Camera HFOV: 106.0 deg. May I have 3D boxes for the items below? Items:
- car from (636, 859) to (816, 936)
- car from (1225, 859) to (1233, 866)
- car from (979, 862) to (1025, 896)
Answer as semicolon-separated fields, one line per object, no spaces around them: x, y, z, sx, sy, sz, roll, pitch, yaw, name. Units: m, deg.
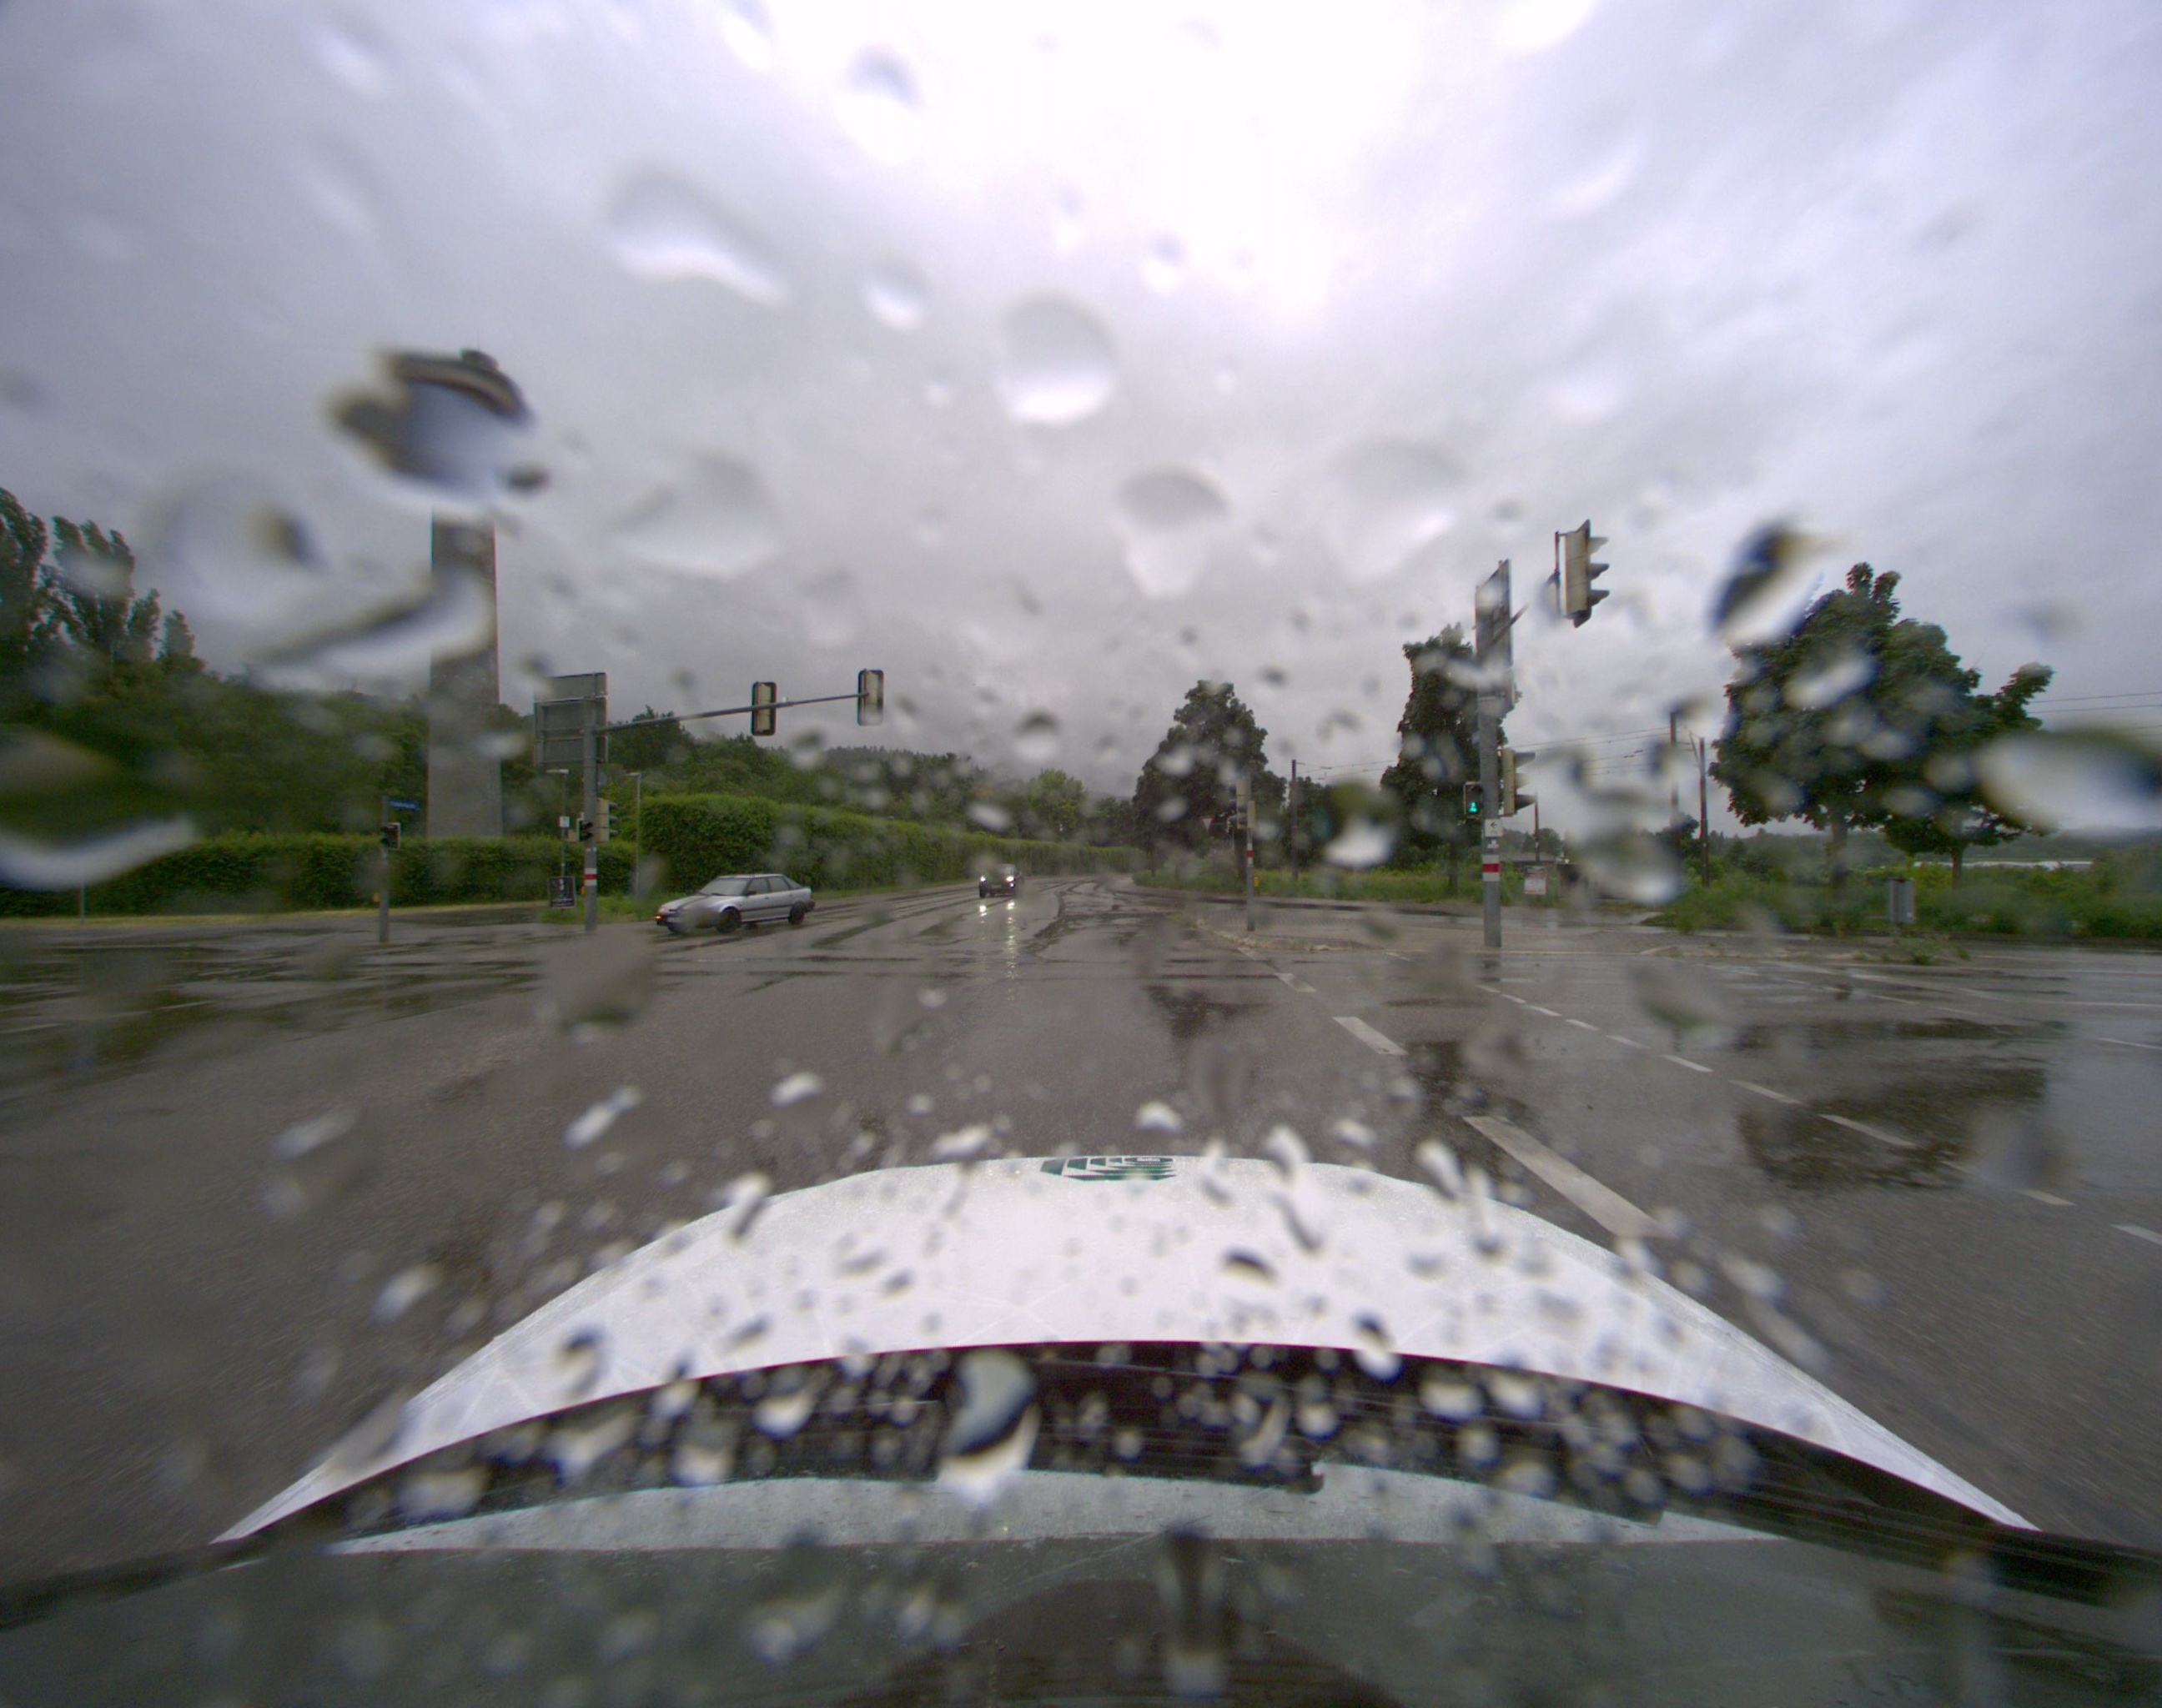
-8.845;1.005;20.696;2.021;1.708;4.083;0;0;16;car
43.312;2.387;238.040;1.938;1.904;4.137;-1;0;16;car
-3.793;1.156;39.549;1.779;1.505;4.061;-1;0;1;car
